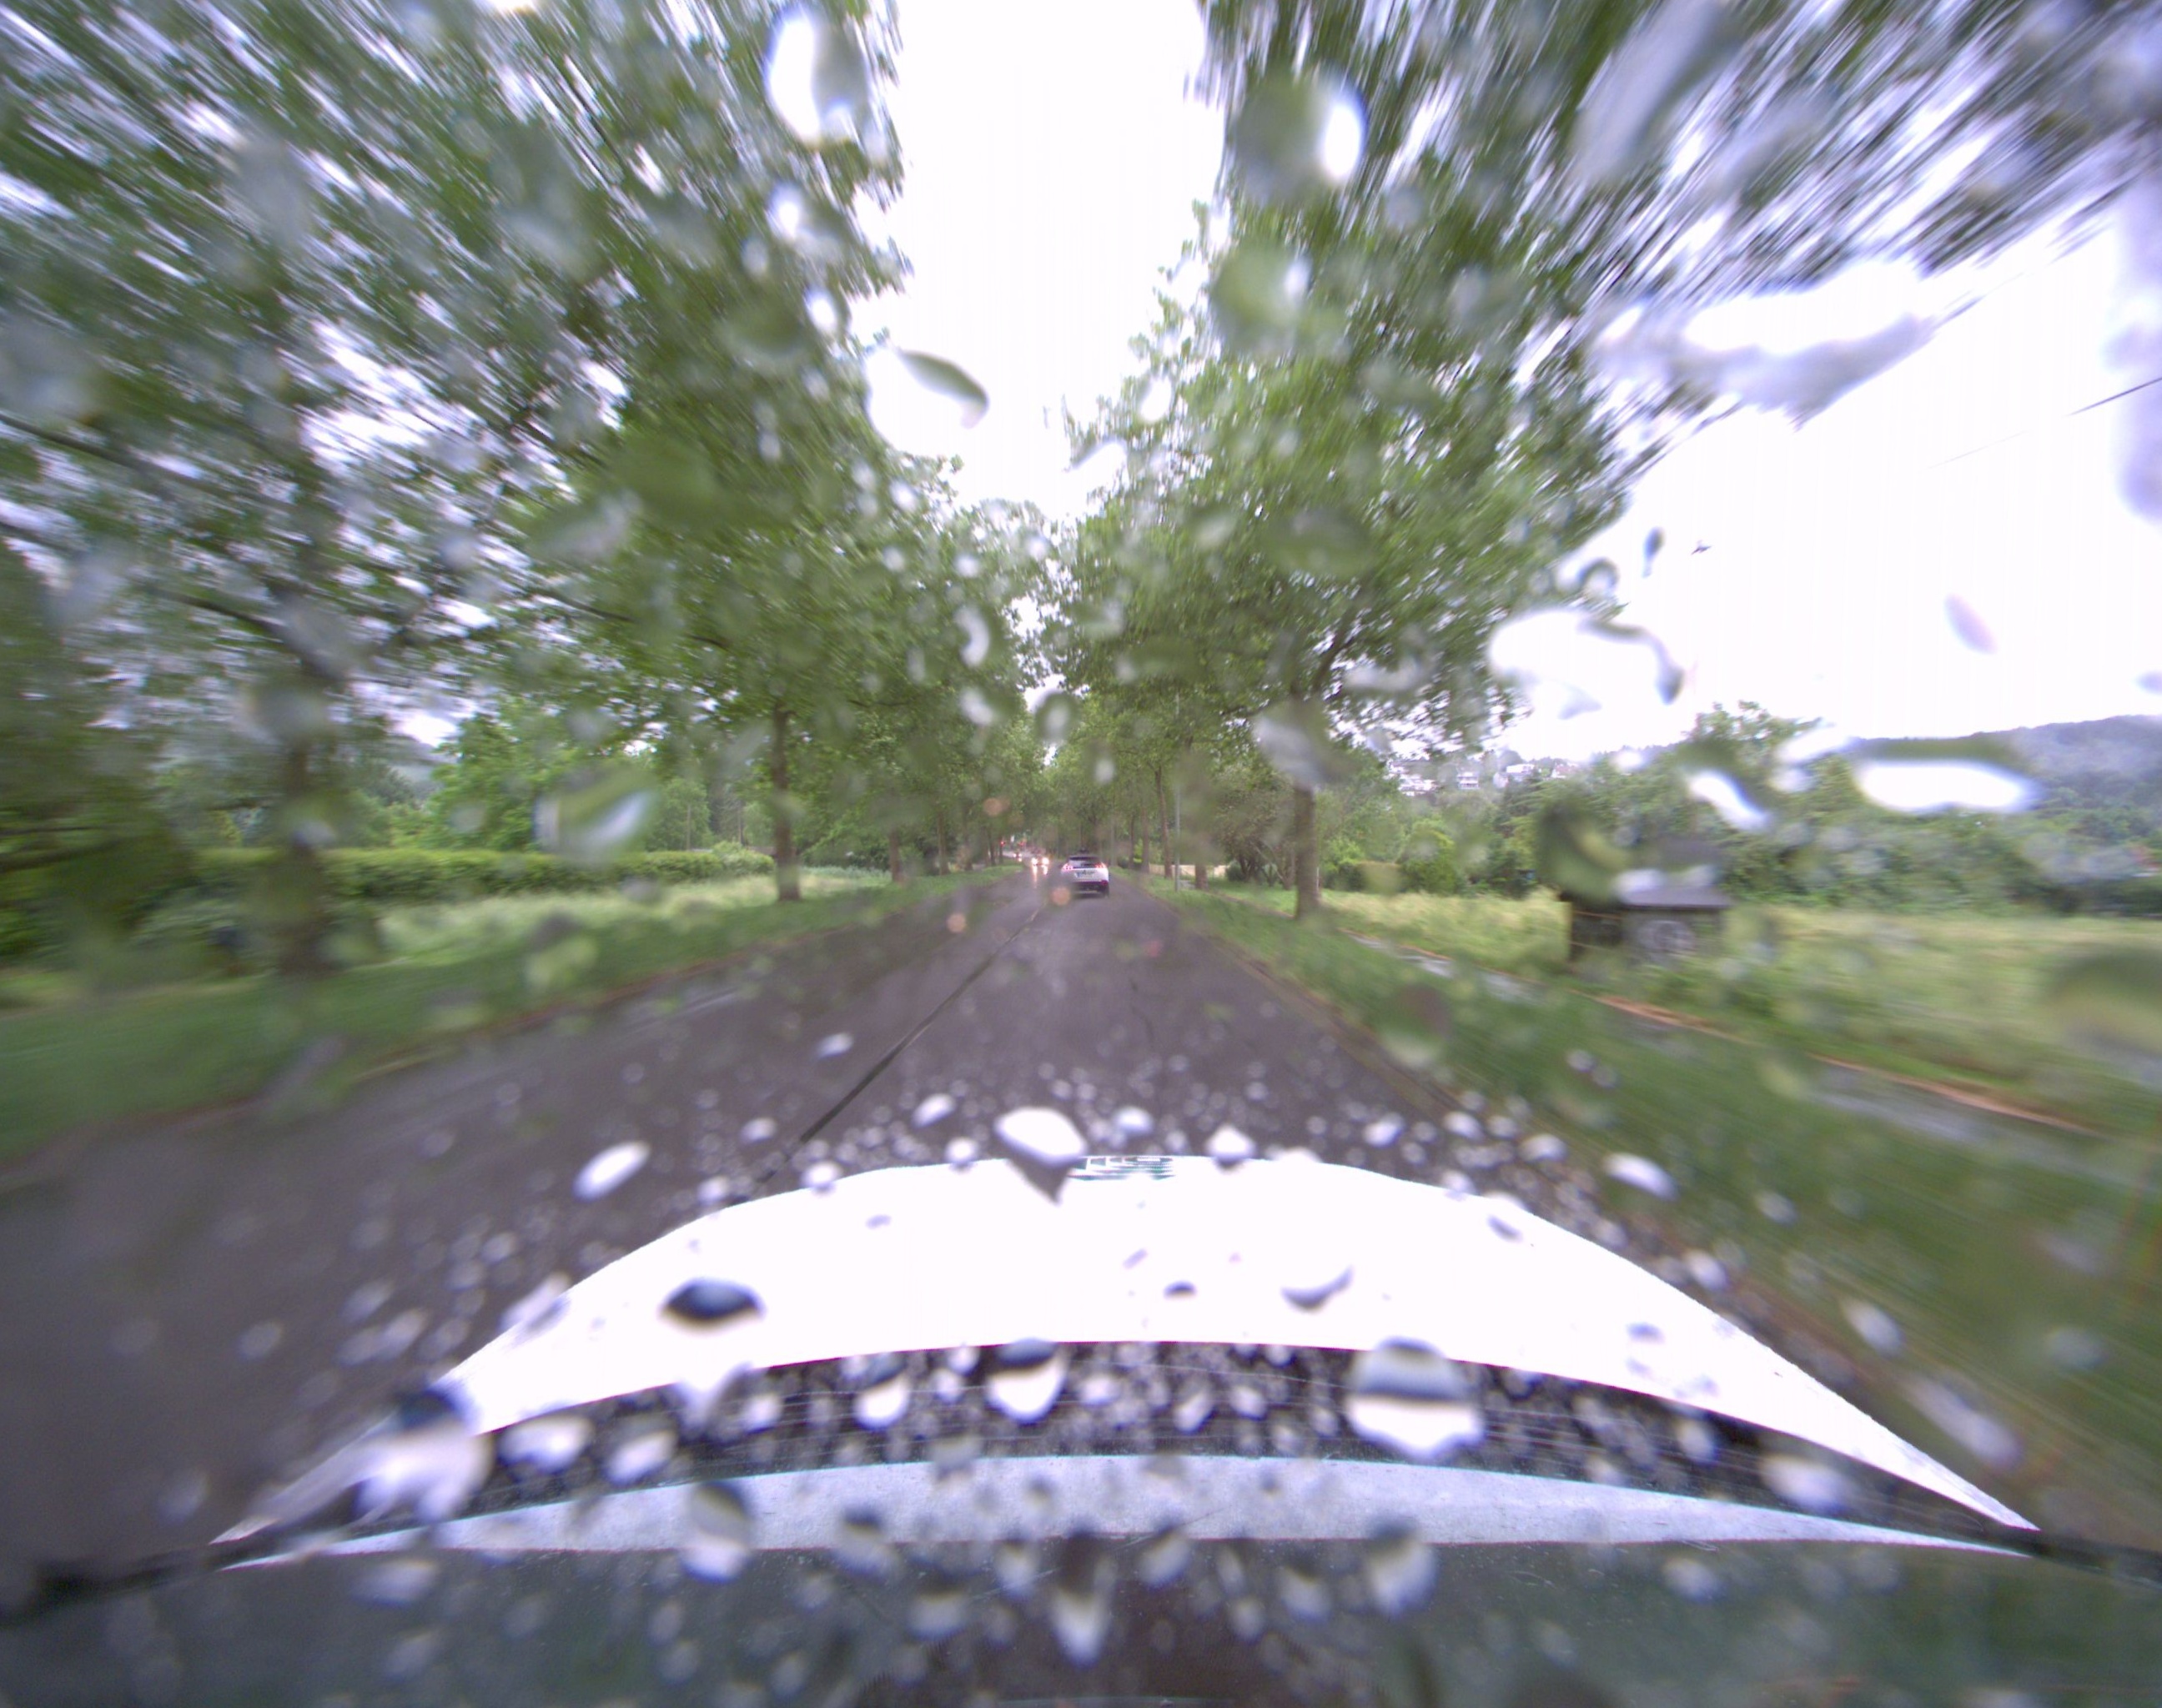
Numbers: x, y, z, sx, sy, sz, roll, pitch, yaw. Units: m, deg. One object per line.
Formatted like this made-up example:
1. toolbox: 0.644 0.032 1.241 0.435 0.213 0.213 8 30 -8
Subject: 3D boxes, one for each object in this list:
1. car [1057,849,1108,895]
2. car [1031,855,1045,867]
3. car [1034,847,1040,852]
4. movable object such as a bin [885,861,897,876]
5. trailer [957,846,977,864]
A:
1. car: 0.007 0.624 30.642 1.789 1.578 3.842 0 1 -2
2. car: -5.449 0.849 103.495 1.727 1.423 4.221 -1 0 -3
3. car: -13.532 -1.452 249.136 1.822 1.596 3.651 0 0 -2
4. movable object such as a bin: -18.498 1.407 79.224 0.961 1.422 0.964 0 0 -4
5. trailer: -16.974 0.142 121.583 2.480 2.567 5.325 0 0 -4
